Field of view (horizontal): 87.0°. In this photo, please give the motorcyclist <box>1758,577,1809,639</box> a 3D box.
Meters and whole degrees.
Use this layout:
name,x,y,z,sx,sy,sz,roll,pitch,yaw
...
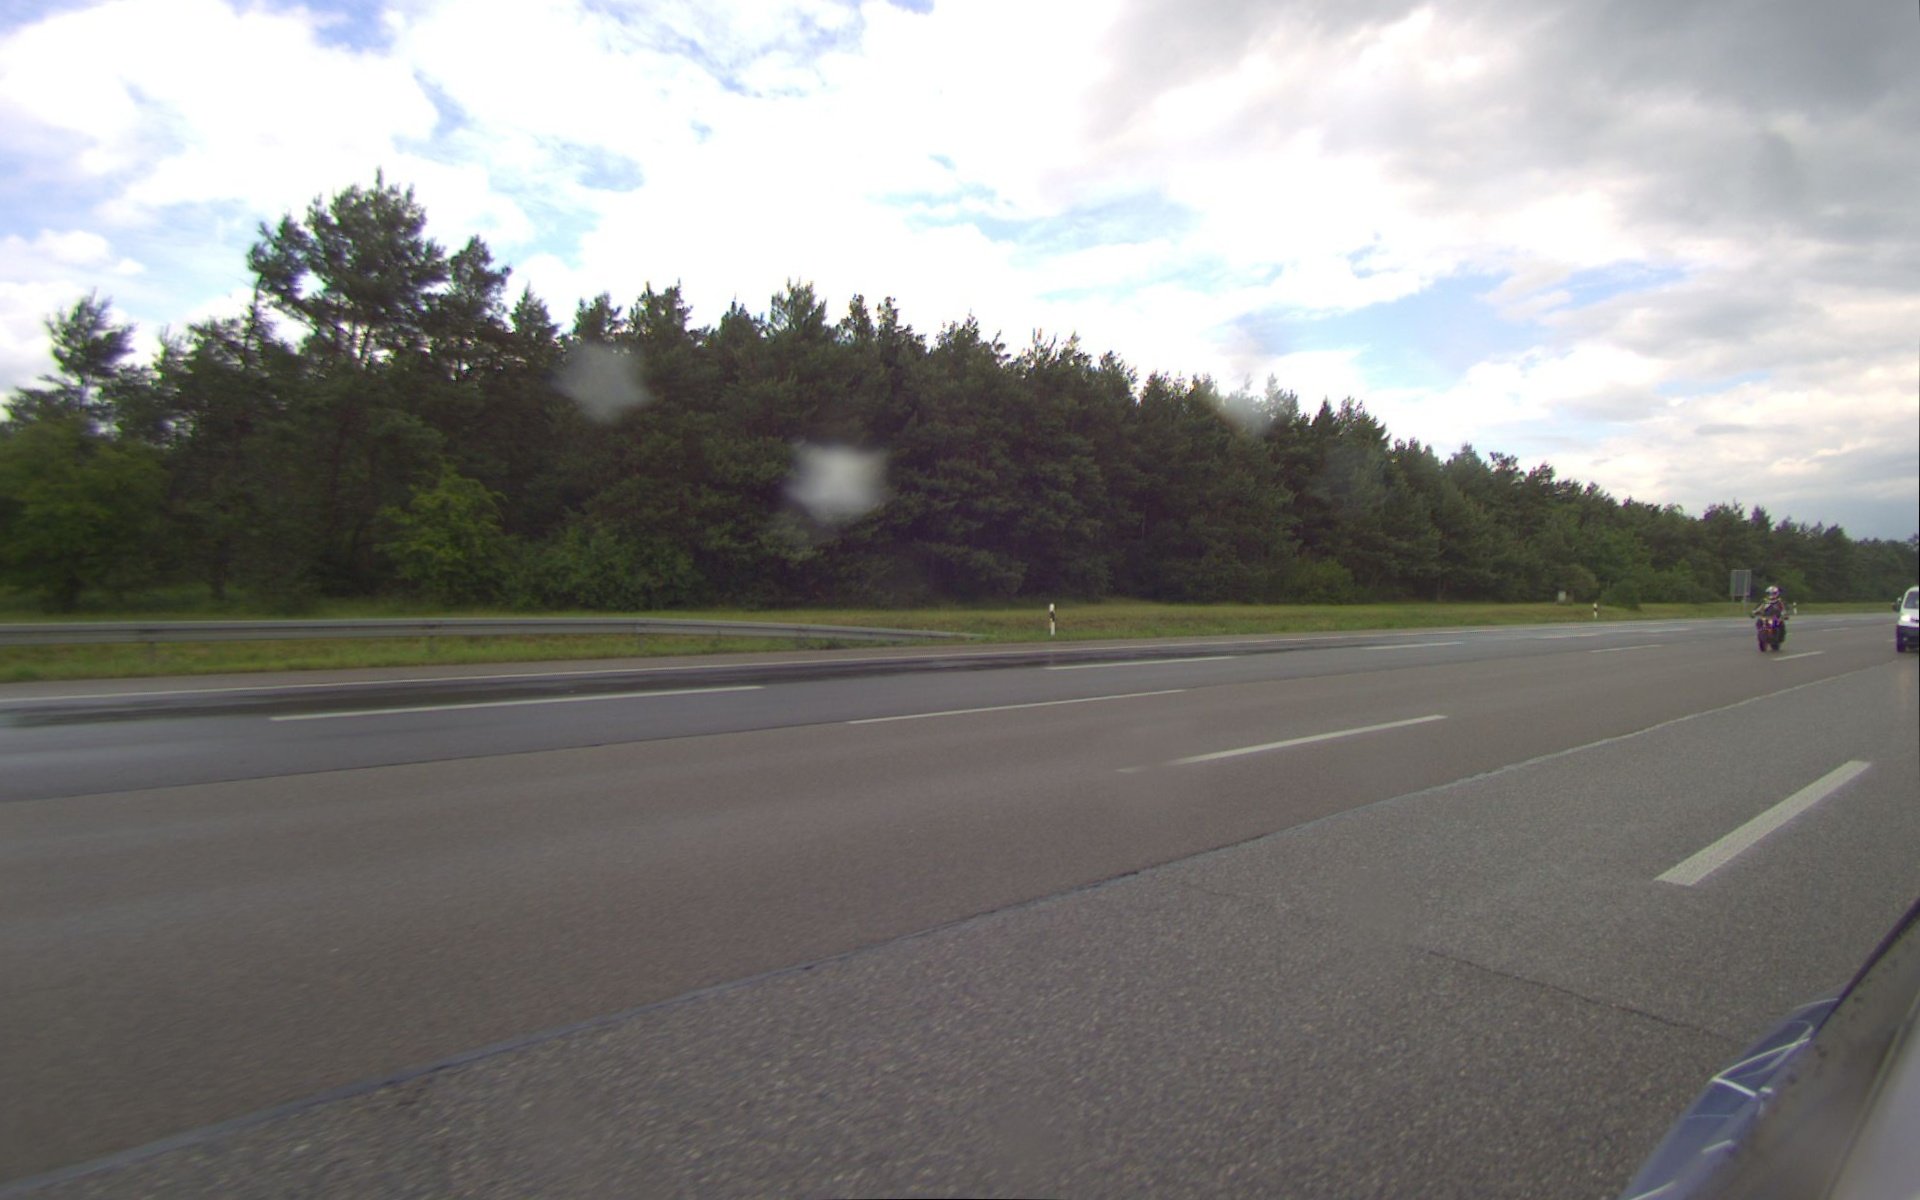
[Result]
name,x,y,z,sx,sy,sz,roll,pitch,yaw
motorcyclist,22.320,0.213,27.432,0.941,1.635,0.893,0,0,-38

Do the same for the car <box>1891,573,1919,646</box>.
name,x,y,z,sx,sy,sz,roll,pitch,yaw
car,27.740,0.276,28.122,4.791,1.925,1.969,0,1,-38

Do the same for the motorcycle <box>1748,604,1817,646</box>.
name,x,y,z,sx,sy,sz,roll,pitch,yaw
motorcycle,22.253,0.654,27.373,2.134,1.044,1.002,0,1,-38
